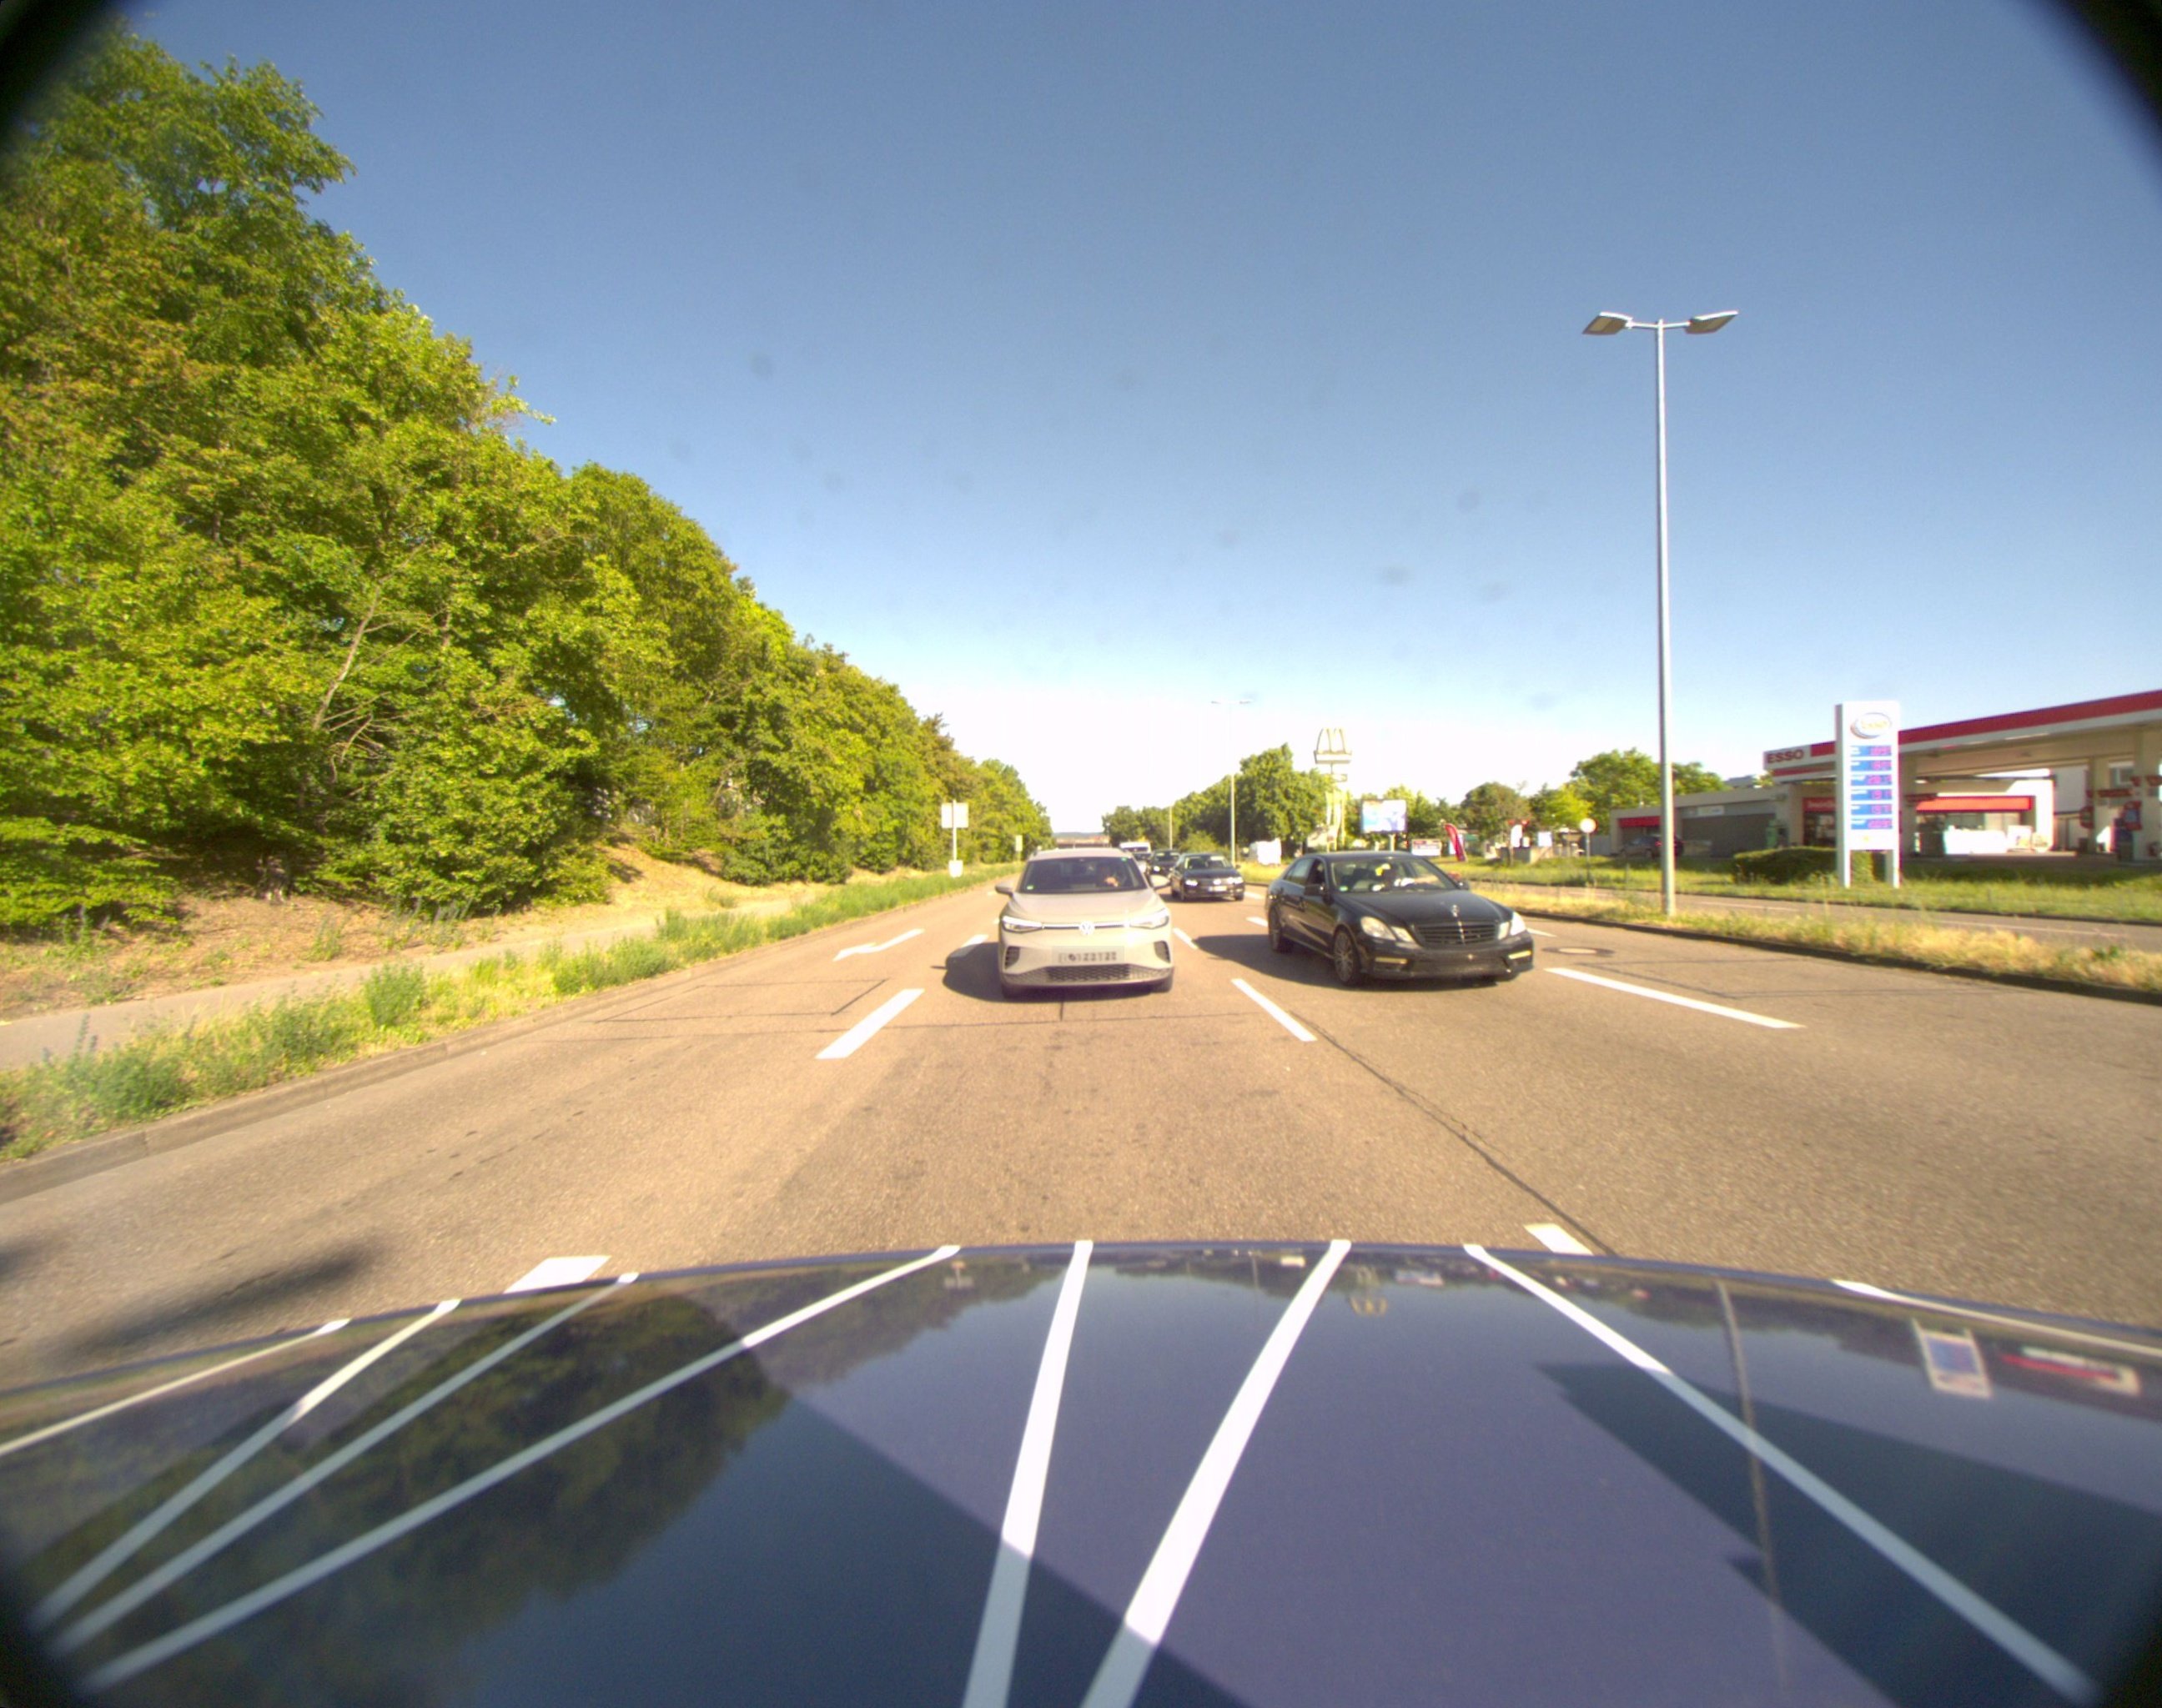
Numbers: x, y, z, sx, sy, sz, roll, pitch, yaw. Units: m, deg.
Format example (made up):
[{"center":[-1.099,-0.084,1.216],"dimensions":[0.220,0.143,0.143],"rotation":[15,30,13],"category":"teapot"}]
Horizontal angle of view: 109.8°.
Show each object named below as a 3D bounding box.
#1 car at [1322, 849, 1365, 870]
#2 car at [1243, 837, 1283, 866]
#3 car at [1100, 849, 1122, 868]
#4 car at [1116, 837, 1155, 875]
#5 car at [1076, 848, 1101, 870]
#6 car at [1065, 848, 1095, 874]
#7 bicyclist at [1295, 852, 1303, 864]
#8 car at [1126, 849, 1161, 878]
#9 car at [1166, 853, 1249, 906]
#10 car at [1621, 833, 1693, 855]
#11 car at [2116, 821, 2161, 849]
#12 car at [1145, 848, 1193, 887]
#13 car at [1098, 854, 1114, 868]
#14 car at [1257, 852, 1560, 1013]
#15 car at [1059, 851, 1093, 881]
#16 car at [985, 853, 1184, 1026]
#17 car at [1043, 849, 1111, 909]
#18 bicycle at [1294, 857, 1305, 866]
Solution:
[{"center":[20.157,0.414,58.571],"dimensions":[1.763,1.482,4.477],"rotation":[2,1,1],"category":"car"},{"center":[16.385,-0.257,68.664],"dimensions":[2.027,2.433,5.820],"rotation":[2,1,-1],"category":"car"},{"center":[2.818,0.413,71.806],"dimensions":[1.763,1.607,4.402],"rotation":[-2,1,0],"category":"car"},{"center":[3.660,0.083,52.141],"dimensions":[2.020,2.349,6.523],"rotation":[-2,1,0],"category":"car"},{"center":[0.541,0.369,56.955],"dimensions":[1.763,1.482,4.402],"rotation":[-2,1,0],"category":"car"},{"center":[-0.080,0.431,49.786],"dimensions":[1.763,1.482,4.402],"rotation":[-2,1,0],"category":"car"},{"center":[23.704,0.426,82.493],"dimensions":[0.629,1.281,0.700],"rotation":[-2,1,1],"category":"bicyclist"},{"center":[3.557,0.536,44.067],"dimensions":[1.635,1.547,3.777],"rotation":[-2,1,0],"category":"car"},{"center":[3.855,0.711,23.767],"dimensions":[1.797,1.419,4.286],"rotation":[-2,0,0],"category":"car"},{"center":[37.635,-0.668,49.790],"dimensions":[1.683,1.401,3.977],"rotation":[0,1,0],"category":"car"},{"center":[55.945,-0.936,38.417],"dimensions":[1.683,1.401,3.977],"rotation":[1,1,-1],"category":"car"},{"center":[3.936,0.558,34.505],"dimensions":[1.674,1.608,3.878],"rotation":[-2,0,0],"category":"car"},{"center":[3.101,0.835,94.178],"dimensions":[1.763,1.607,4.402],"rotation":[-2,1,0],"category":"car"},{"center":[3.696,0.762,9.584],"dimensions":[1.868,1.430,4.402],"rotation":[-2,1,0],"category":"car"},{"center":[-0.281,0.620,42.627],"dimensions":[1.763,1.482,4.402],"rotation":[-2,1,0],"category":"car"},{"center":[0.024,0.822,9.548],"dimensions":[1.862,1.574,4.402],"rotation":[-2,0,0],"category":"car"},{"center":[-0.115,0.662,22.563],"dimensions":[1.763,1.482,4.402],"rotation":[-2,1,0],"category":"car"},{"center":[23.711,0.823,82.449],"dimensions":[0.629,0.863,1.741],"rotation":[-2,1,1],"category":"bicycle"}]
